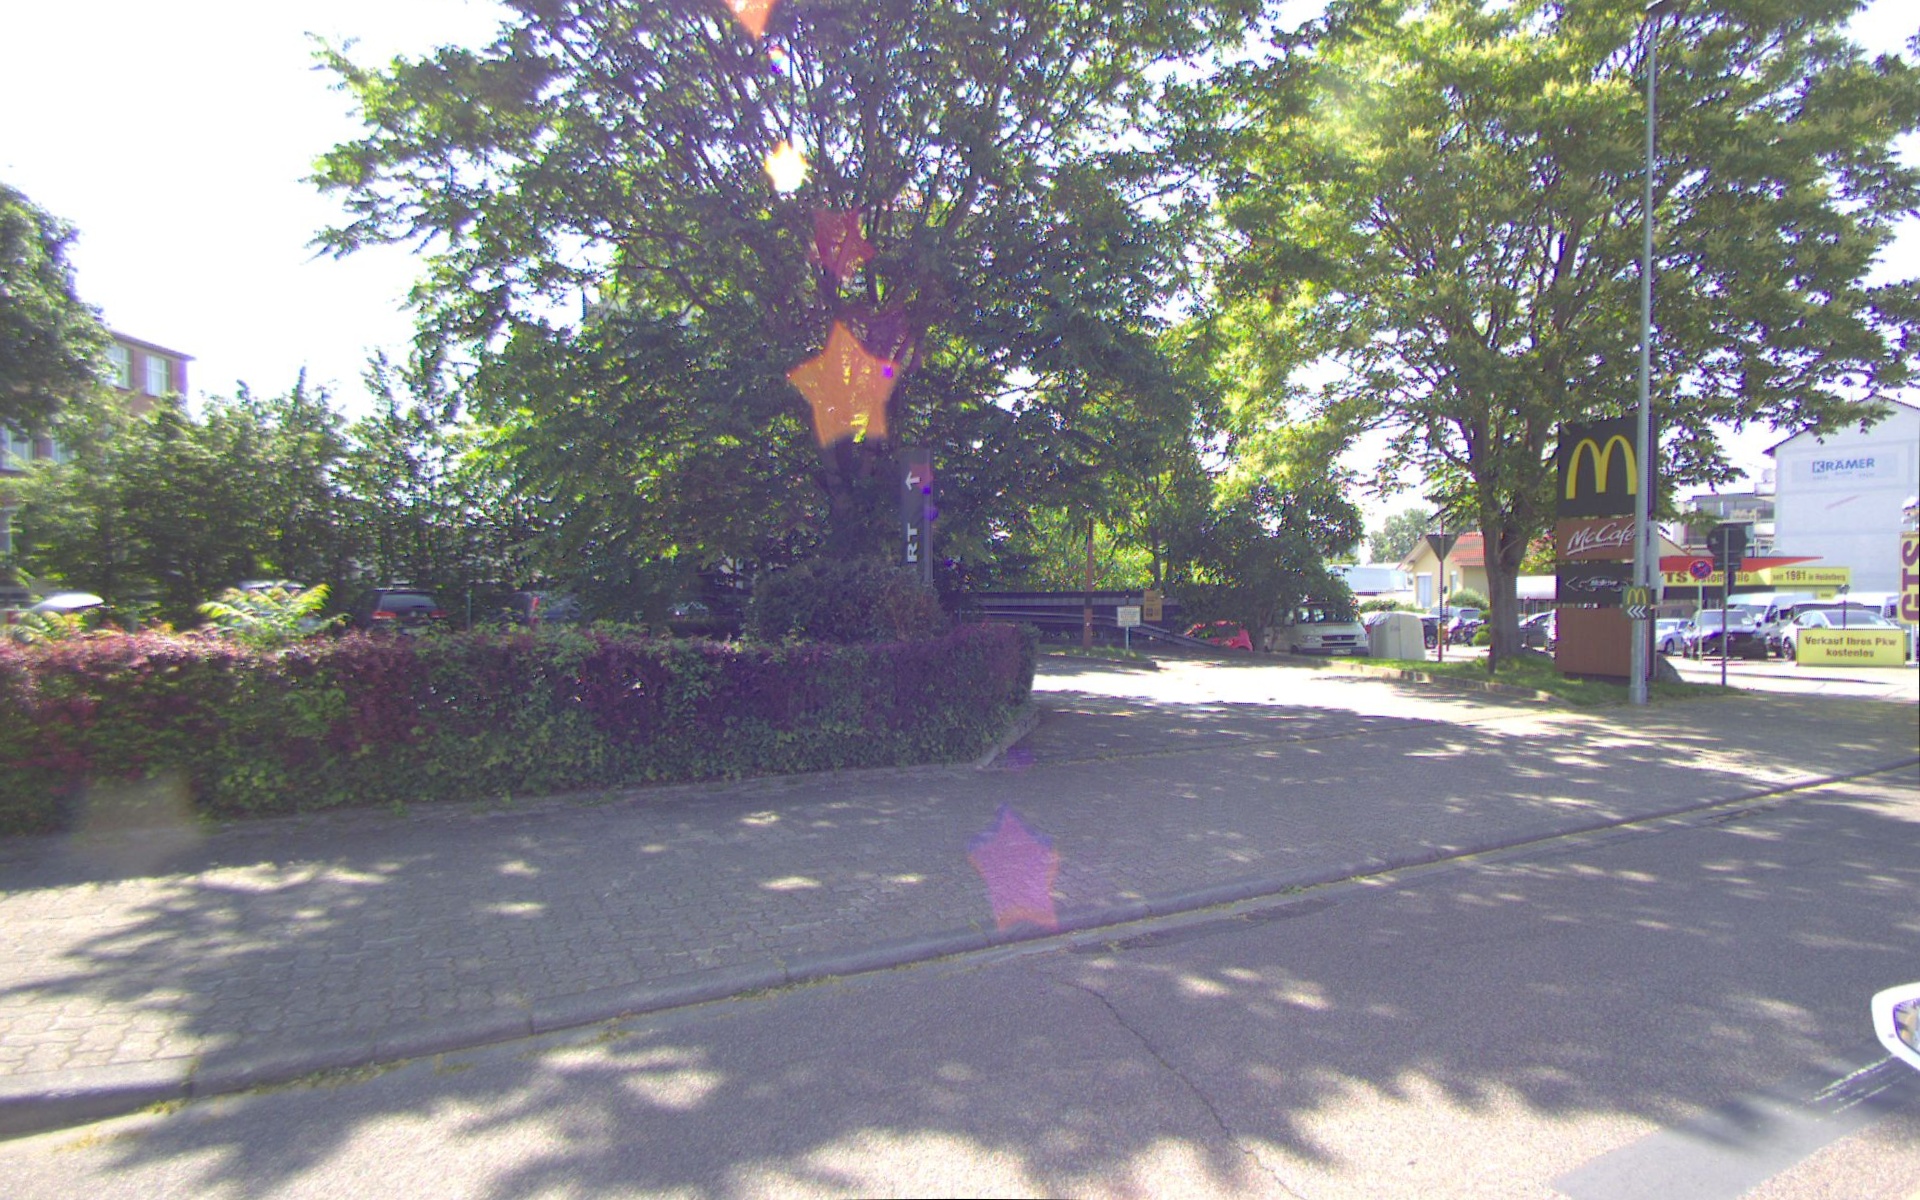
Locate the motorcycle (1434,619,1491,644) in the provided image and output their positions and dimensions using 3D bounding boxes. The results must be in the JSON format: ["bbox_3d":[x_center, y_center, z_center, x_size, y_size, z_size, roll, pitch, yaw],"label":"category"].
[{"bbox_3d":[26.448,1.666,52.839,2.673,1.243,0.996,2,0,-14],"label":"motorcycle"}]

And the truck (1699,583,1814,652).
[{"bbox_3d":[36.144,0.782,45.525,5.878,2.943,2.256,1,1,-33],"label":"truck"}]

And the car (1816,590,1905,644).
[{"bbox_3d":[40.535,0.737,45.164,4.667,2.315,2.120,1,0,-37],"label":"car"}]

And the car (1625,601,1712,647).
[{"bbox_3d":[33.807,1.148,47.915,4.451,2.040,1.980,2,0,-35],"label":"car"}]

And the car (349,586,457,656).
[{"bbox_3d":[-13.730,0.441,24.658,1.758,1.490,3.956,-1,3,-38],"label":"car"}]

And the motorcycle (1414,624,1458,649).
[{"bbox_3d":[23.887,1.841,50.434,1.837,1.174,0.790,2,0,6],"label":"motorcycle"}]

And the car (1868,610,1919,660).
[{"bbox_3d":[32.854,1.189,34.841,1.834,1.651,3.981,1,0,40],"label":"car"}]

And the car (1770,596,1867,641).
[{"bbox_3d":[35.661,0.765,41.691,4.674,1.761,1.865,1,1,-35],"label":"car"}]

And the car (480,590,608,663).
[{"bbox_3d":[-9.817,0.544,23.554,1.690,1.473,3.953,-1,2,-40],"label":"car"}]

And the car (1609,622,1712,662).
[{"bbox_3d":[28.535,1.705,40.909,3.949,1.507,1.781,2,0,-27],"label":"car"}]

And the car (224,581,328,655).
[{"bbox_3d":[-16.685,0.369,24.438,1.759,1.593,3.954,0,2,-39],"label":"car"}]

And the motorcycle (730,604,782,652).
[{"bbox_3d":[-5.166,0.687,25.383,1.583,1.156,0.472,1,1,44],"label":"motorcycle"}]

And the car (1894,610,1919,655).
[{"bbox_3d":[37.051,1.212,38.308,1.834,1.651,3.981,1,0,40],"label":"car"}]

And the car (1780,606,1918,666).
[{"bbox_3d":[28.505,1.113,32.373,1.961,1.748,4.000,2,0,20],"label":"car"}]

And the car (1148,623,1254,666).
[{"bbox_3d":[8.485,1.554,35.493,3.350,1.397,1.485,0,2,-5],"label":"car"}]

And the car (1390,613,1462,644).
[{"bbox_3d":[26.282,1.590,56.760,1.962,1.606,3.997,2,0,-4],"label":"car"}]

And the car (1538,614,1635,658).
[{"bbox_3d":[23.705,1.349,37.953,3.962,1.530,1.775,2,0,-37],"label":"car"}]

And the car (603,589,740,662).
[{"bbox_3d":[-7.004,0.538,24.157,1.649,1.490,3.855,-1,3,-42],"label":"car"}]

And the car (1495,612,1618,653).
[{"bbox_3d":[26.209,1.385,44.297,4.248,1.606,2.000,2,0,17],"label":"car"}]

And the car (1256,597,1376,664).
[{"bbox_3d":[9.789,0.774,28.039,1.918,1.604,5.033,2,1,5],"label":"car"}]

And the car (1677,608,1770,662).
[{"bbox_3d":[25.575,1.140,33.810,2.017,1.616,4.413,2,0,32],"label":"car"}]
